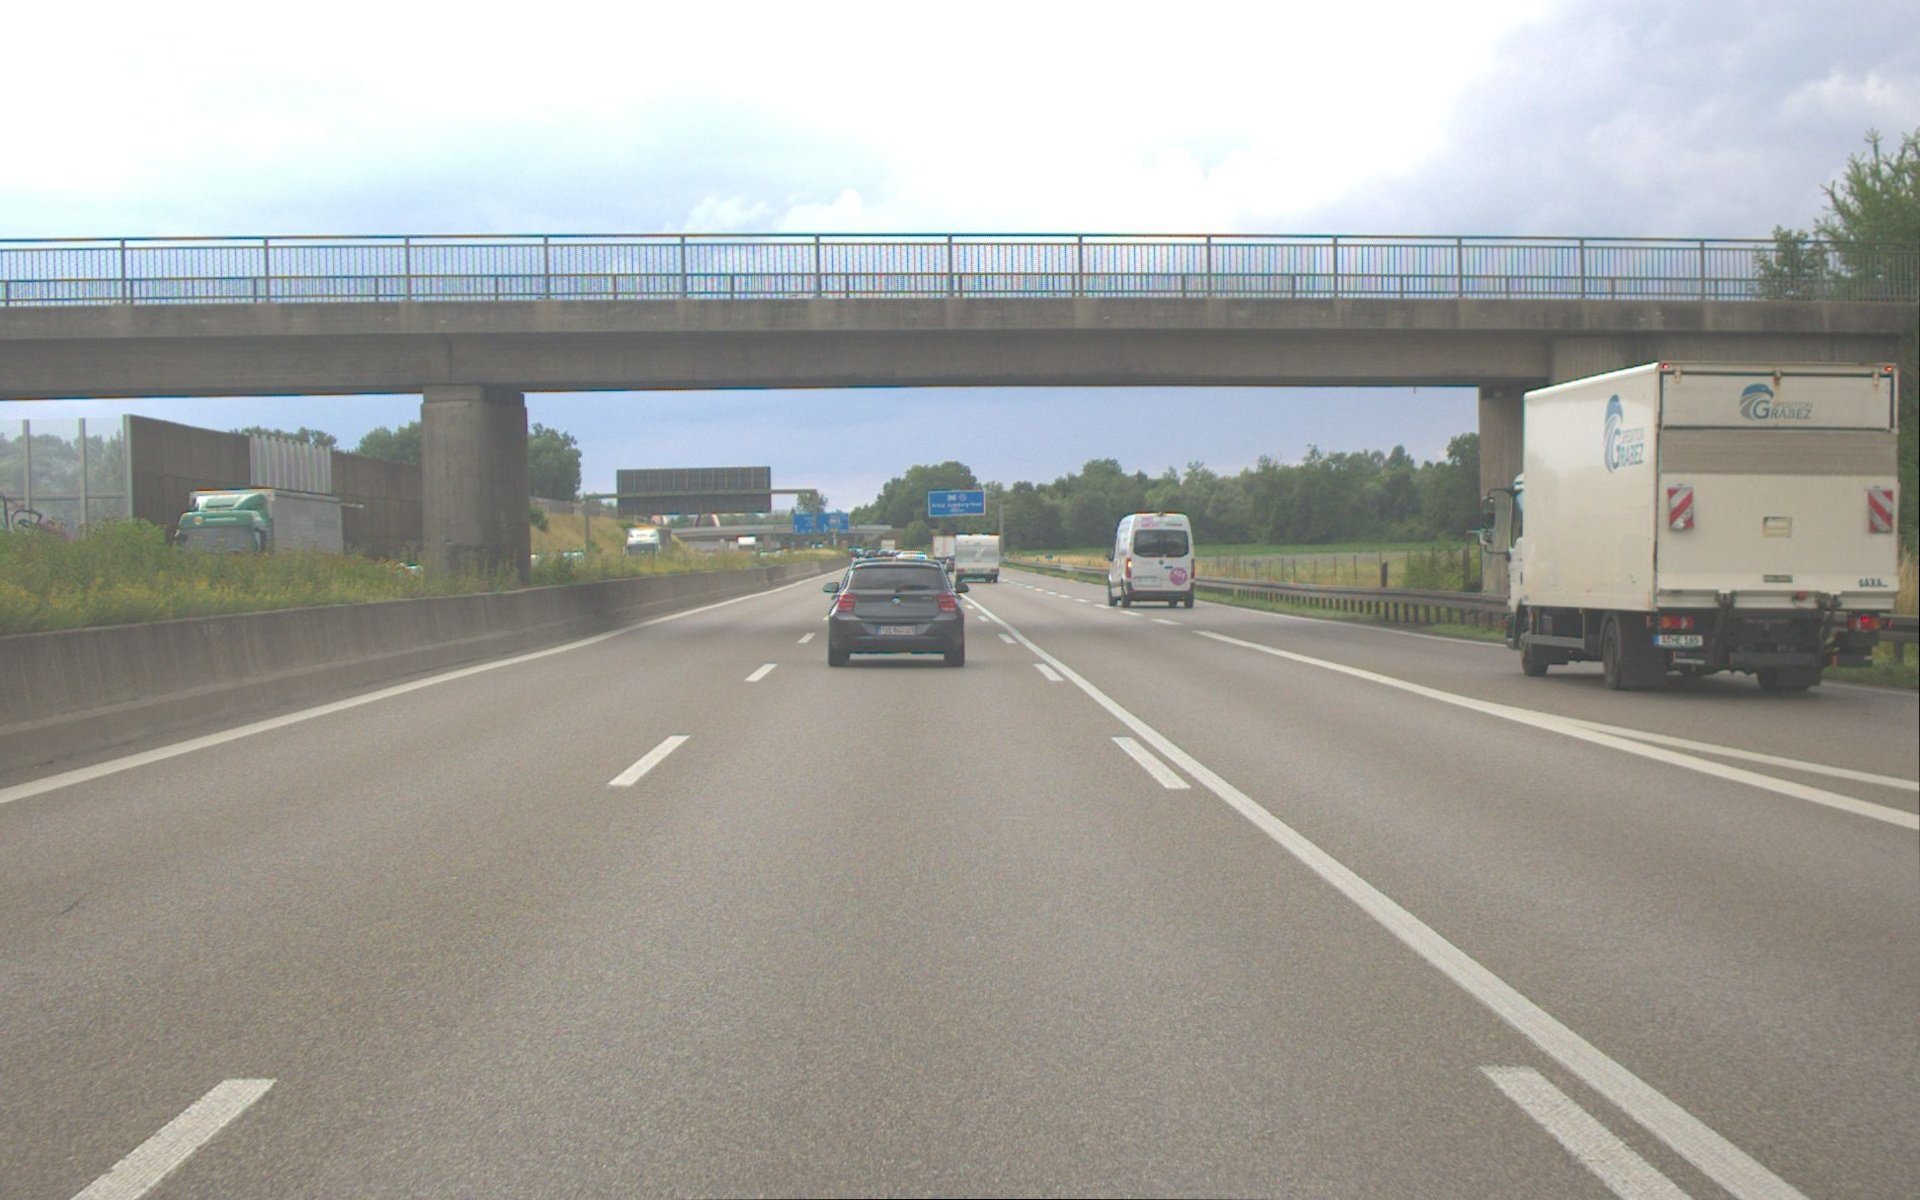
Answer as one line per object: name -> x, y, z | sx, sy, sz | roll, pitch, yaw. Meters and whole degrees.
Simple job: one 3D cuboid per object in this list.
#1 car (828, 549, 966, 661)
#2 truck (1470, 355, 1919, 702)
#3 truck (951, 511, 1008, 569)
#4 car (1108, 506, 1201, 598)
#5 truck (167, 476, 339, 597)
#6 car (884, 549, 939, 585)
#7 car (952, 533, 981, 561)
car -> -0.833, 0.037, 45.598 | 1.743, 1.384, 4.000 | 1, 1, -1
truck -> 8.299, -0.777, 39.274 | 3.104, 3.459, 8.892 | 1, 1, -3
truck -> 1.002, -3.221, 185.900 | 2.710, 2.954, 12.448 | 1, 1, -1
car -> 5.532, -1.380, 98.357 | 2.221, 2.559, 6.256 | 0, 1, -1
truck -> -22.640, -2.000, 110.955 | 2.997, 3.671, 13.009 | 0, 1, -1
car -> -1.855, -1.267, 130.349 | 1.993, 1.294, 4.000 | -1, 1, -1
car -> 0.461, -3.864, 250.687 | 1.993, 2.007, 4.000 | -1, 1, -1
